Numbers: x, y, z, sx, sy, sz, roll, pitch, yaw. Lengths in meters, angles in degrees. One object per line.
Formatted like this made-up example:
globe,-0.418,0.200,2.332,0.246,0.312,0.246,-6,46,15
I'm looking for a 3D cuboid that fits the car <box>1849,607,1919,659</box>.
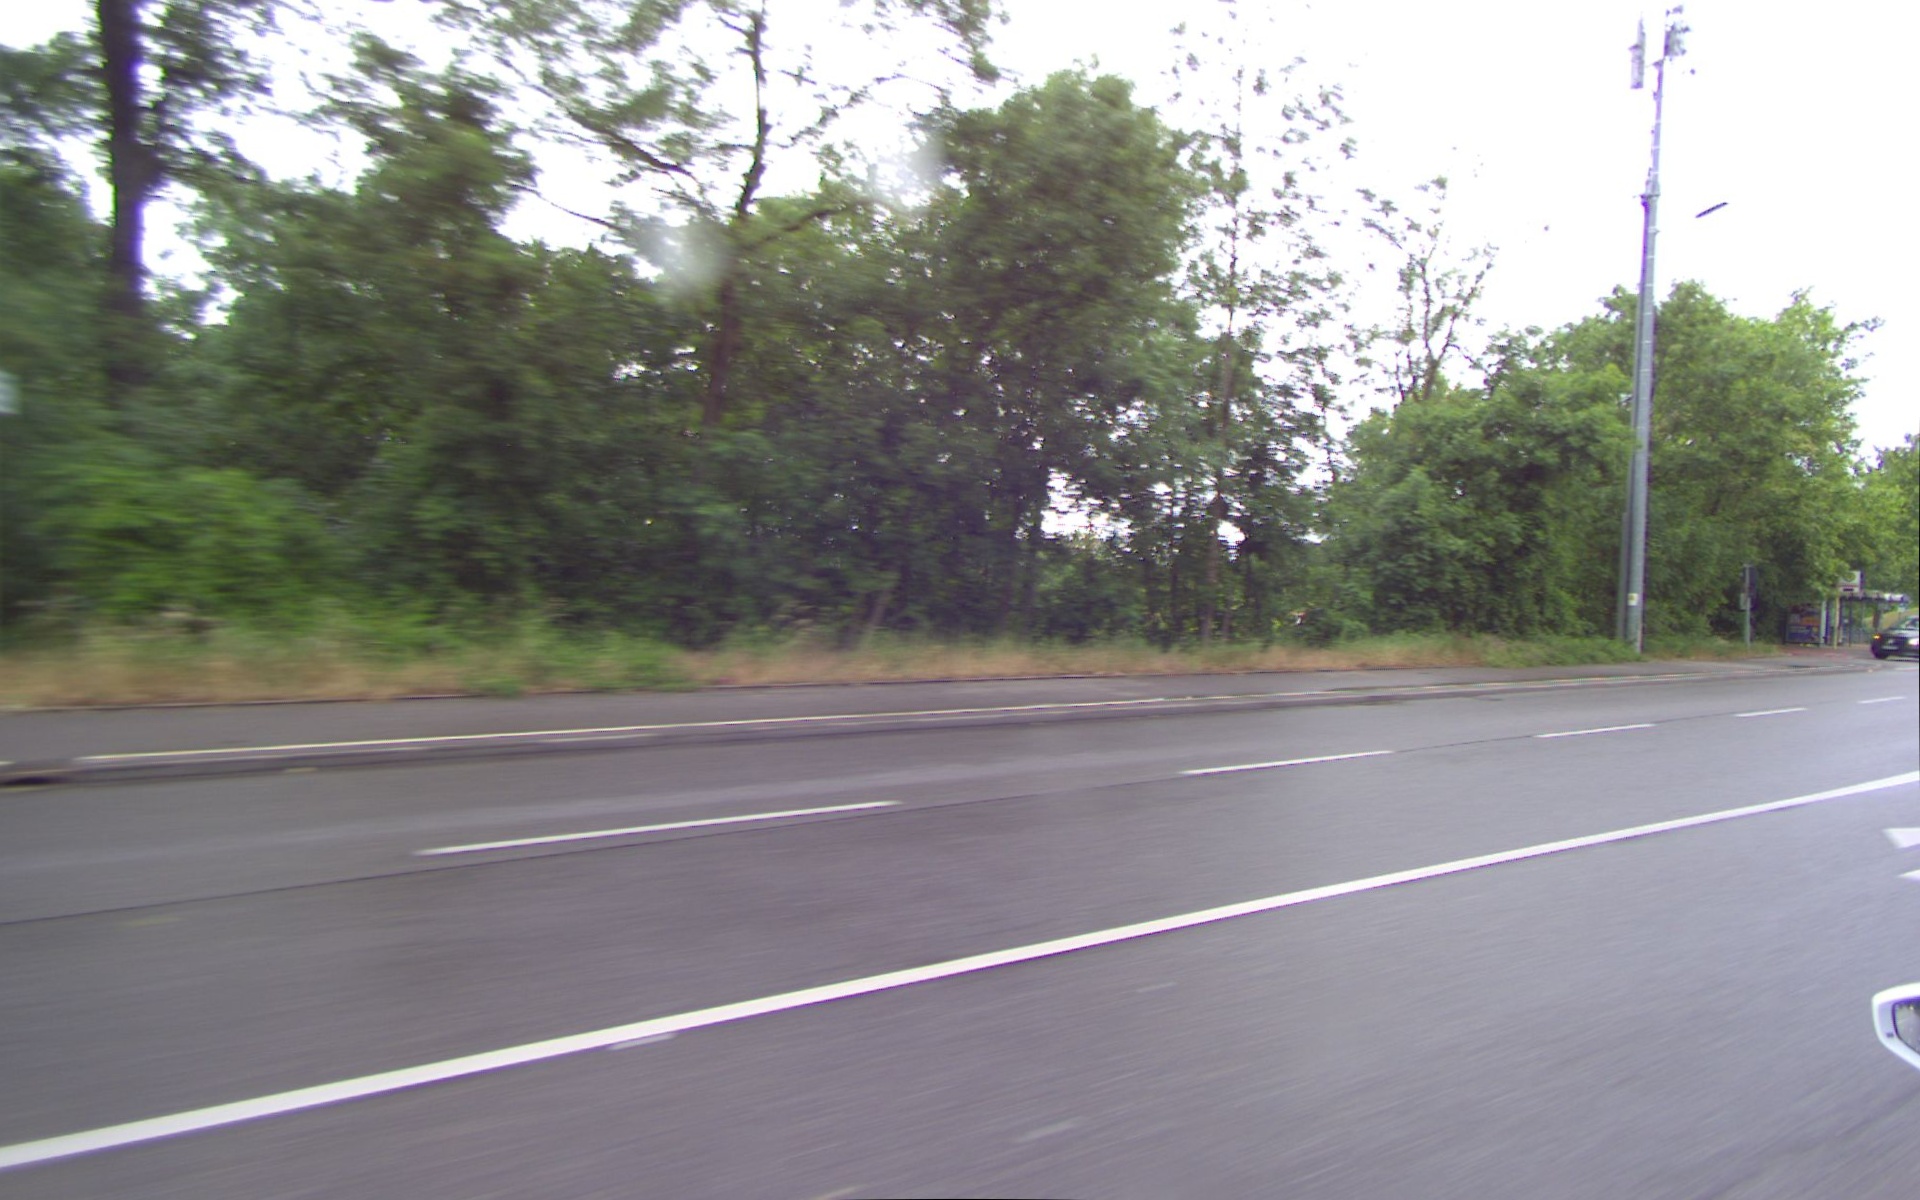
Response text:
car,39.490,1.432,40.900,5.066,1.972,2.106,3,1,-8
